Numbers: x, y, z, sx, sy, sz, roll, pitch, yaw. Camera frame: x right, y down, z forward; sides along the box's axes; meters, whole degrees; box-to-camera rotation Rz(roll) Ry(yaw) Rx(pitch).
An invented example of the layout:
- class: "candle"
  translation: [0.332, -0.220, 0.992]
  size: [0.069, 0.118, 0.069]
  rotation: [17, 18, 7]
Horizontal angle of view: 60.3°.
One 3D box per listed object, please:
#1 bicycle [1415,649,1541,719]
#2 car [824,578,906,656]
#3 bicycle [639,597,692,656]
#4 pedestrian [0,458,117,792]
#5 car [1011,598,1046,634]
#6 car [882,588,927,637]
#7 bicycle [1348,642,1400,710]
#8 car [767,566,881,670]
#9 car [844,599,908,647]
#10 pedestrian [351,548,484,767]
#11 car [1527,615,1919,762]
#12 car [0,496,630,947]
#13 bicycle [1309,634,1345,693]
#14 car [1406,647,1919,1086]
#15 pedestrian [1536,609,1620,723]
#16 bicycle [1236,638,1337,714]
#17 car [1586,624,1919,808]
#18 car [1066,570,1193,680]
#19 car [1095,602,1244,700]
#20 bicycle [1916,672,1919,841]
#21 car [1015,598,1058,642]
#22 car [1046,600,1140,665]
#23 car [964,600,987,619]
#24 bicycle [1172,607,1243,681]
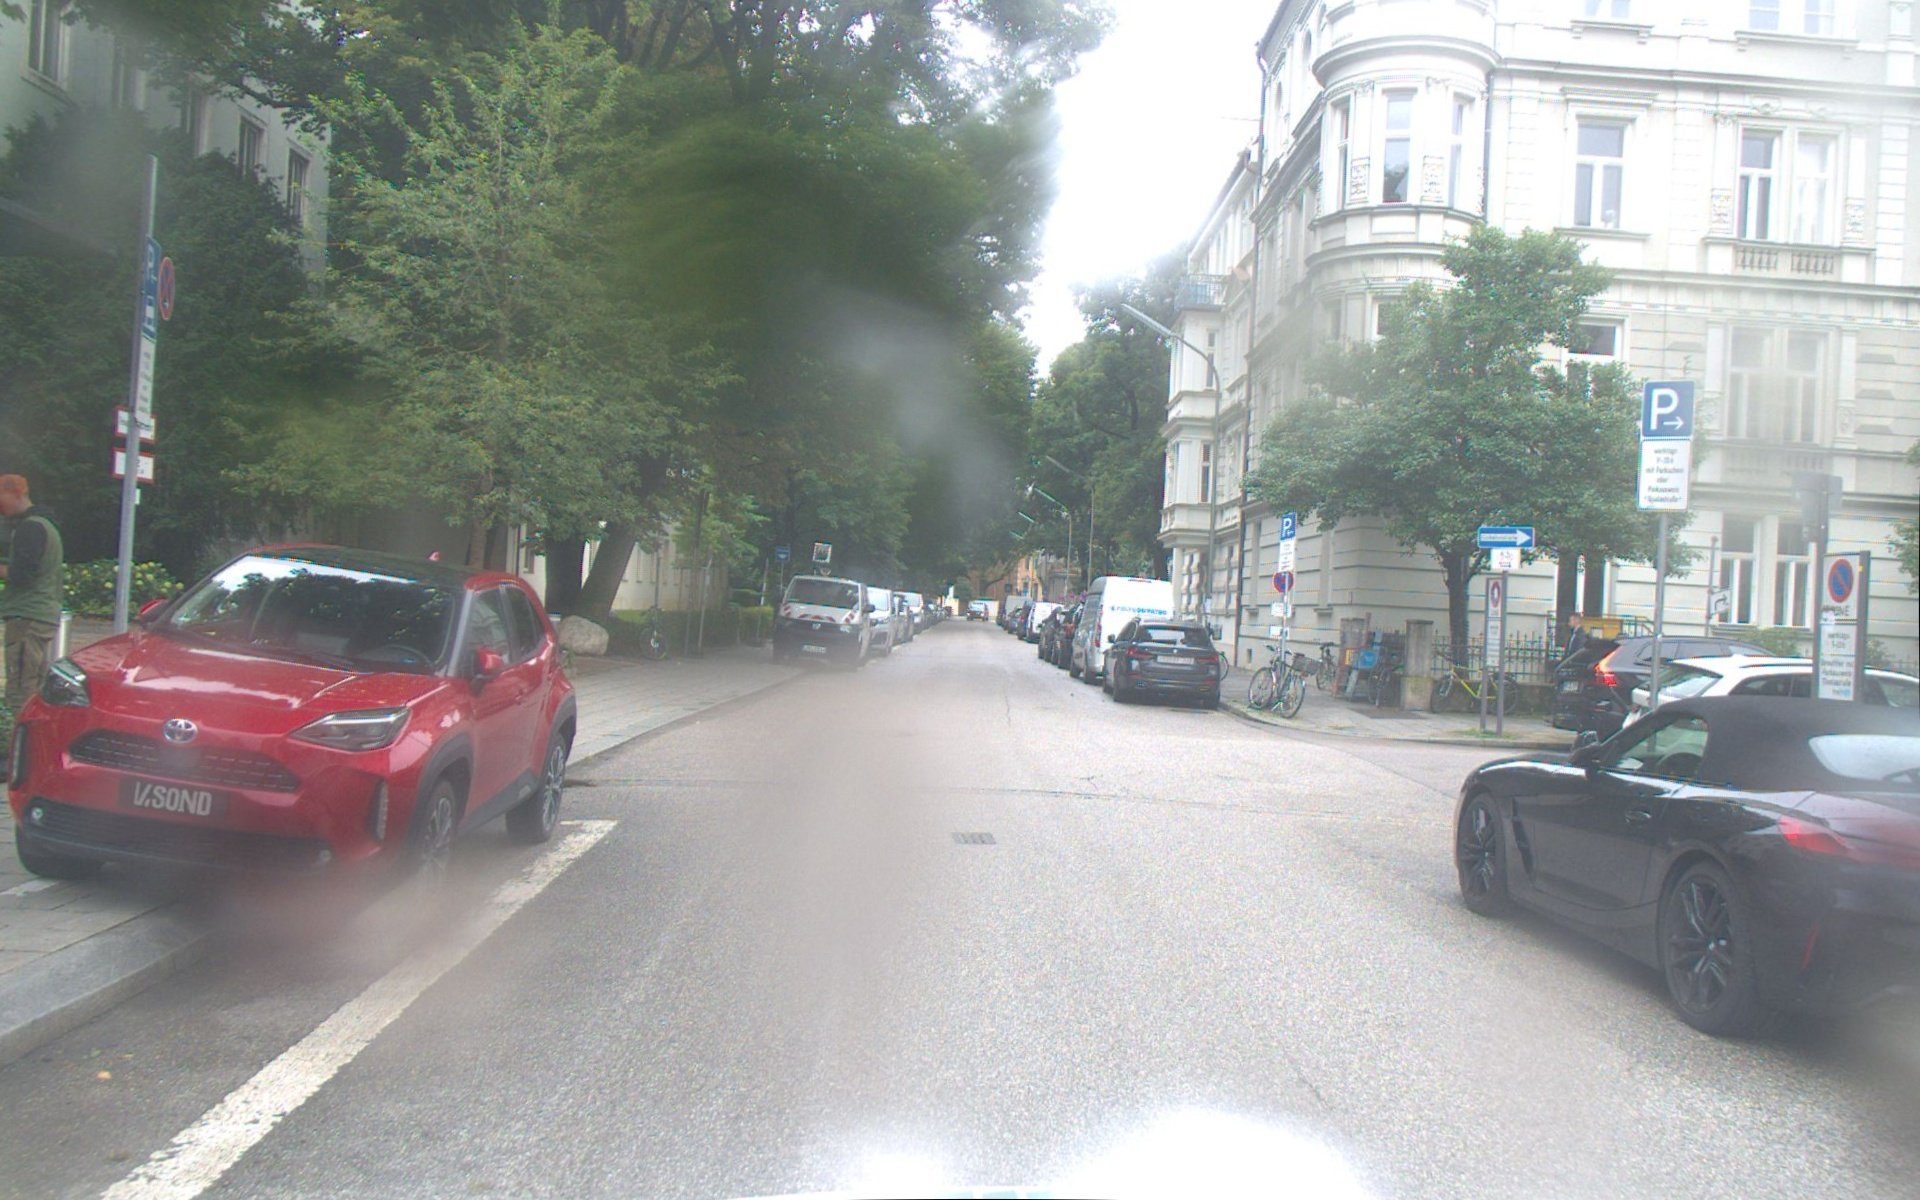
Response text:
- class: "bicycle"
  translation: [8.622, 1.391, 27.553]
  size: [1.883, 1.046, 0.557]
  rotation: [3, 1, 2]
- class: "car"
  translation: [-2.779, 0.473, 48.523]
  size: [2.140, 1.990, 5.163]
  rotation: [4, 0, -3]
- class: "bicycle"
  translation: [-5.872, 0.525, 33.050]
  size: [0.620, 1.122, 1.767]
  rotation: [4, -1, 2]
- class: "pedestrian"
  translation: [-5.622, 0.129, 9.821]
  size: [0.698, 1.884, 0.796]
  rotation: [4, -1, -2]
- class: "car"
  translation: [4.090, 0.924, 99.244]
  size: [1.952, 2.049, 4.001]
  rotation: [2, 0, 2]
- class: "car"
  translation: [-2.709, 0.614, 81.528]
  size: [1.962, 2.224, 4.695]
  rotation: [4, 0, -1]
- class: "bicycle"
  translation: [7.209, 1.309, 28.856]
  size: [0.421, 1.046, 1.891]
  rotation: [2, 1, 1]
- class: "car"
  translation: [-2.942, 0.372, 36.801]
  size: [2.203, 1.990, 5.450]
  rotation: [4, 0, -3]
- class: "car"
  translation: [-3.001, 0.813, 59.928]
  size: [2.027, 1.546, 4.236]
  rotation: [4, 0, -1]
- class: "pedestrian"
  translation: [-4.126, 0.426, 12.638]
  size: [0.700, 1.575, 0.751]
  rotation: [5, -1, -6]
- class: "car"
  translation: [10.589, 1.235, 22.689]
  size: [4.937, 1.681, 1.942]
  rotation: [3, -4, -3]
- class: "car"
  translation: [-3.054, 0.471, 8.623]
  size: [1.850, 1.618, 4.525]
  rotation: [4, 0, -3]
- class: "bicycle"
  translation: [7.185, 1.229, 32.410]
  size: [0.534, 1.079, 1.752]
  rotation: [3, 0, 9]
- class: "car"
  translation: [3.829, 0.966, 7.908]
  size: [1.960, 1.342, 4.592]
  rotation: [0, 0, -3]
- class: "pedestrian"
  translation: [9.694, 1.023, 25.987]
  size: [0.952, 1.719, 0.860]
  rotation: [2, 0, -1]
- class: "bicycle"
  translation: [5.217, 1.200, 26.599]
  size: [0.643, 1.046, 2.193]
  rotation: [2, 1, -15]
- class: "car"
  translation: [9.160, 1.180, 16.841]
  size: [4.808, 1.558, 1.912]
  rotation: [2, 2, -3]
- class: "car"
  translation: [3.708, 0.548, 37.007]
  size: [2.159, 2.247, 4.853]
  rotation: [2, -1, -2]
- class: "car"
  translation: [3.697, 0.881, 30.040]
  size: [2.225, 1.573, 4.587]
  rotation: [2, -1, 2]
- class: "bicycle"
  translation: [7.460, 1.156, 11.384]
  size: [0.532, 1.247, 1.774]
  rotation: [2, -1, -8]
- class: "car"
  translation: [3.691, 0.945, 80.053]
  size: [1.952, 2.010, 4.001]
  rotation: [2, 0, 2]
- class: "car"
  translation: [3.636, 0.884, 45.846]
  size: [2.095, 1.658, 4.314]
  rotation: [2, -1, -2]
- class: "car"
  translation: [1.626, 0.981, 172.533]
  size: [1.951, 1.814, 4.003]
  rotation: [2, 0, 7]
- class: "bicycle"
  translation: [5.445, 0.955, 36.526]
  size: [0.696, 1.542, 2.029]
  rotation: [3, 0, -17]
